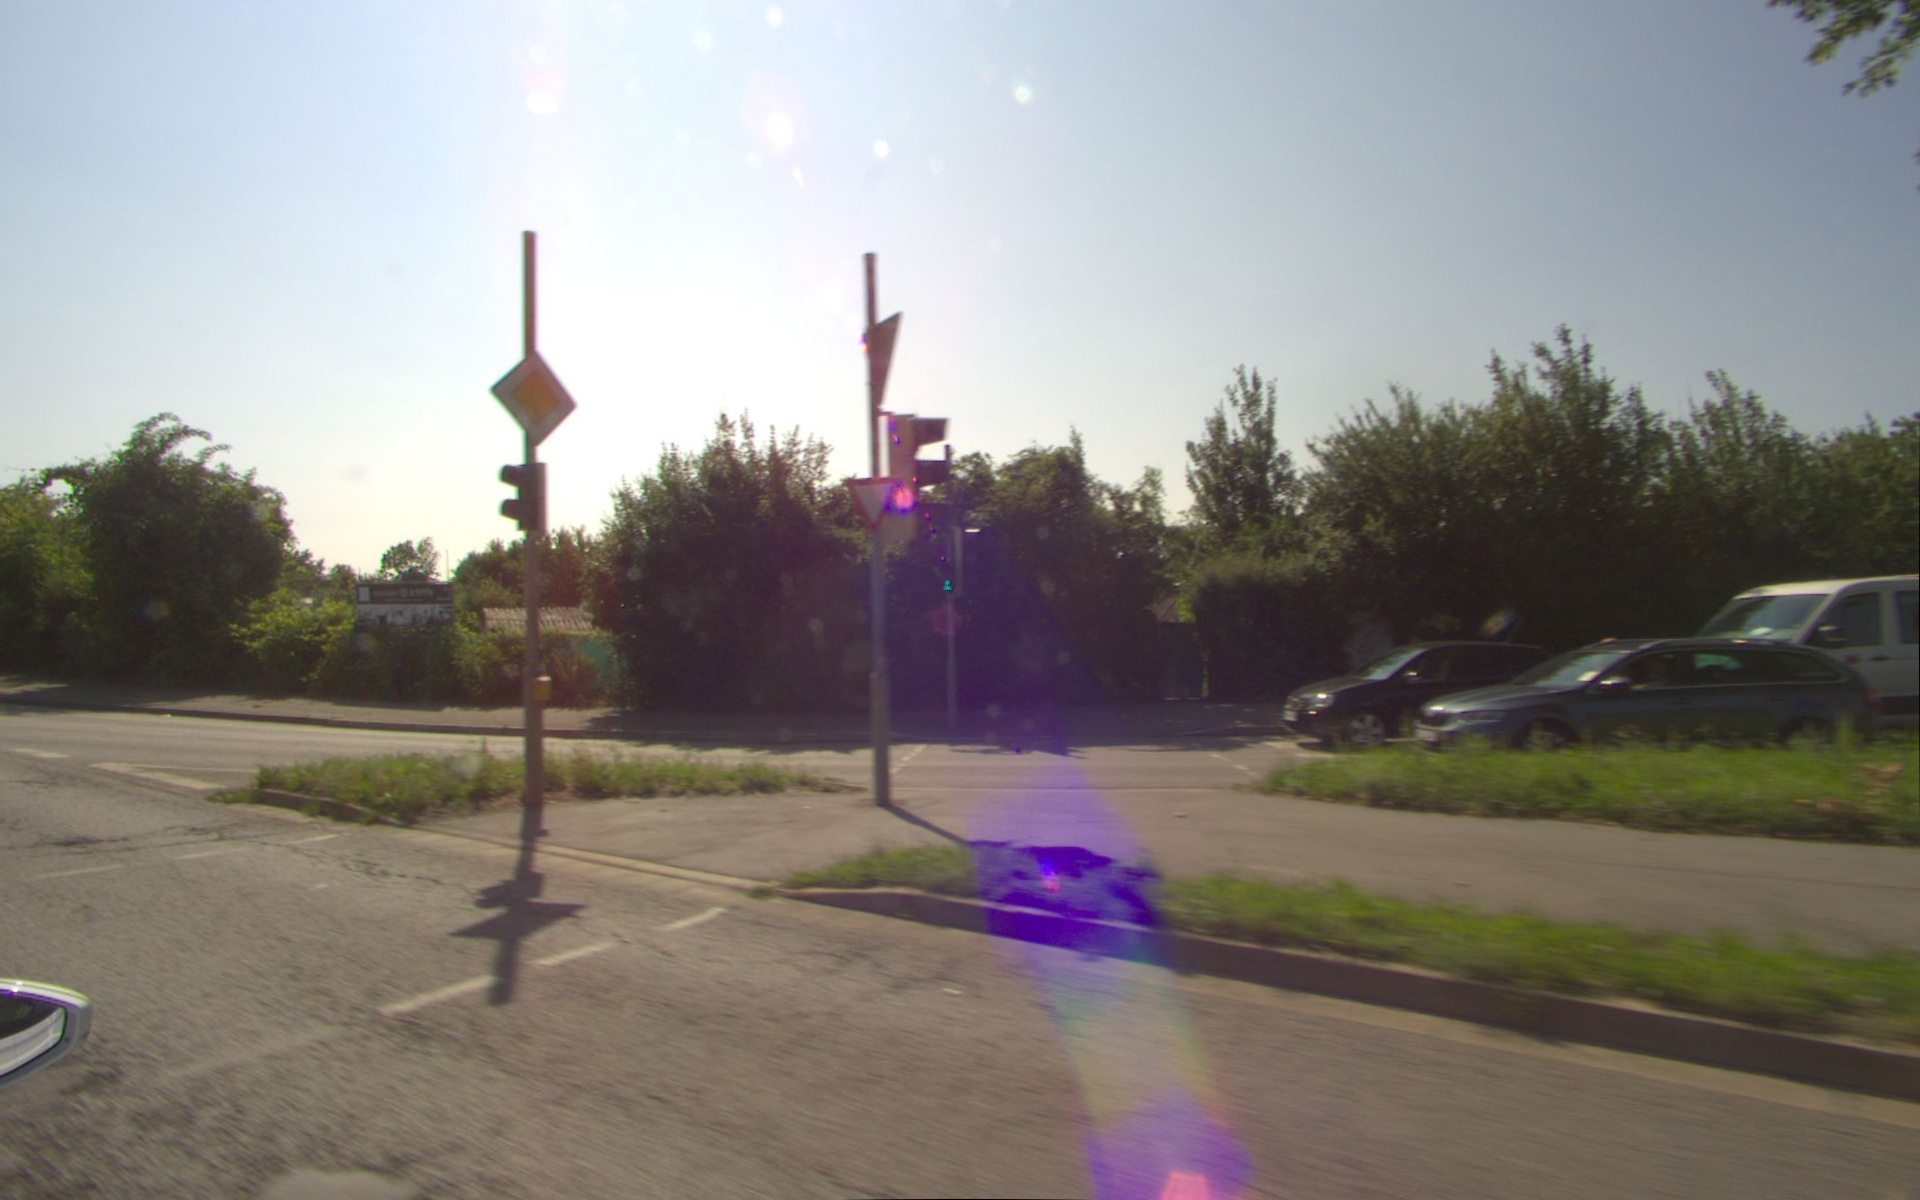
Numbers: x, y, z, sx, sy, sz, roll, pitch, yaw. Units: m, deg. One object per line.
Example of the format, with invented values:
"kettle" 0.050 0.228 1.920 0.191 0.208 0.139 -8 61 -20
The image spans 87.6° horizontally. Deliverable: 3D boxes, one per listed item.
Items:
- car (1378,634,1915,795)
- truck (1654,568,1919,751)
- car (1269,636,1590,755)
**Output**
"car" 7.304 1.192 11.070 4.527 1.567 2.000 0 -1 2
"truck" 14.089 0.838 14.545 6.349 2.416 2.347 0 -2 -1
"car" 6.508 1.316 14.173 3.750 1.567 1.622 0 -2 2
